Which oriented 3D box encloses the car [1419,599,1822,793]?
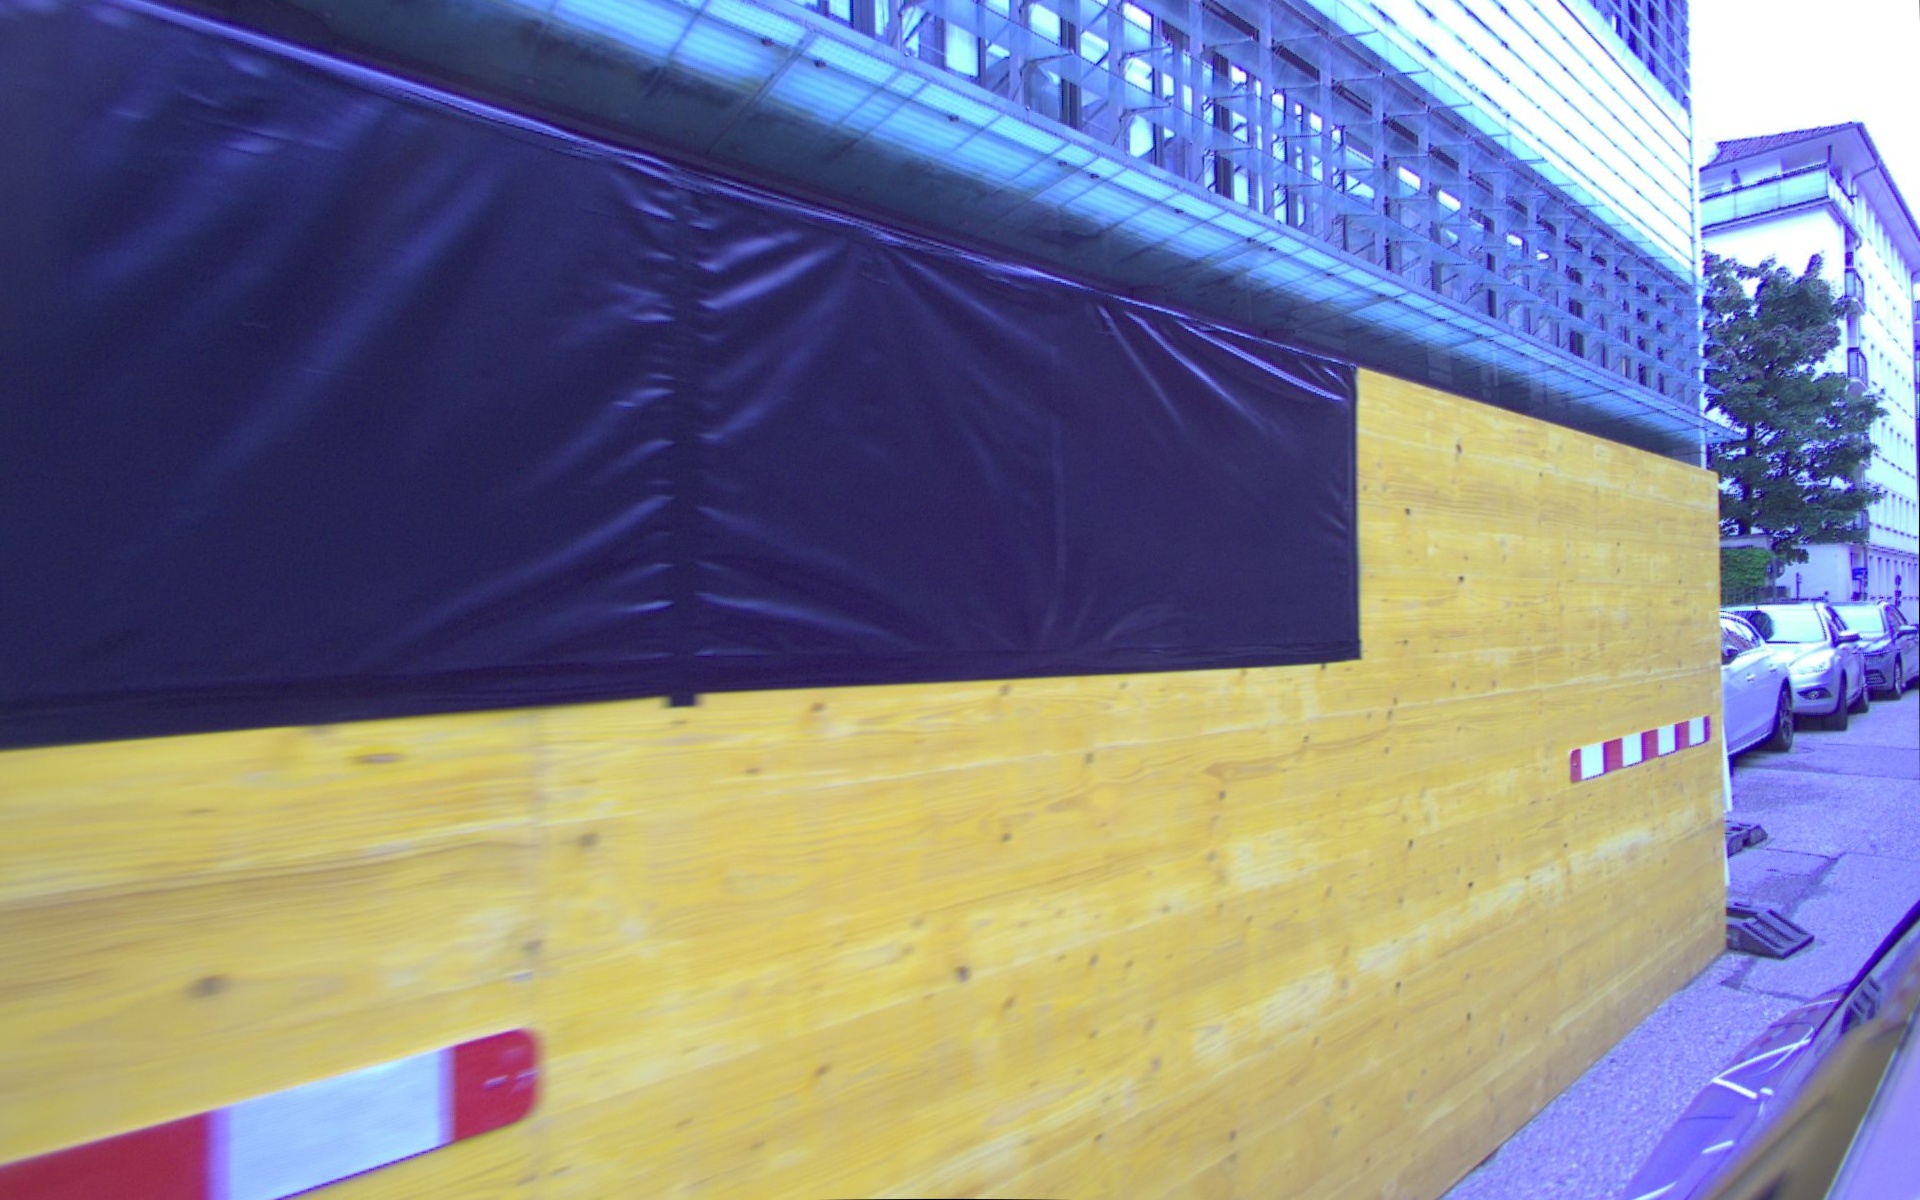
[{"bbox_3d":[6.411,0.717,9.597,4.577,1.392,1.996,0,-1,-41],"label":"car"}]

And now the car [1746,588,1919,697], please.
[{"bbox_3d":[14.115,0.598,16.063,4.205,1.504,1.874,0,-1,-42],"label":"car"}]

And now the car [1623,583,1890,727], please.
[{"bbox_3d":[10.182,0.622,12.824,4.207,1.506,1.994,0,-3,-43],"label":"car"}]
